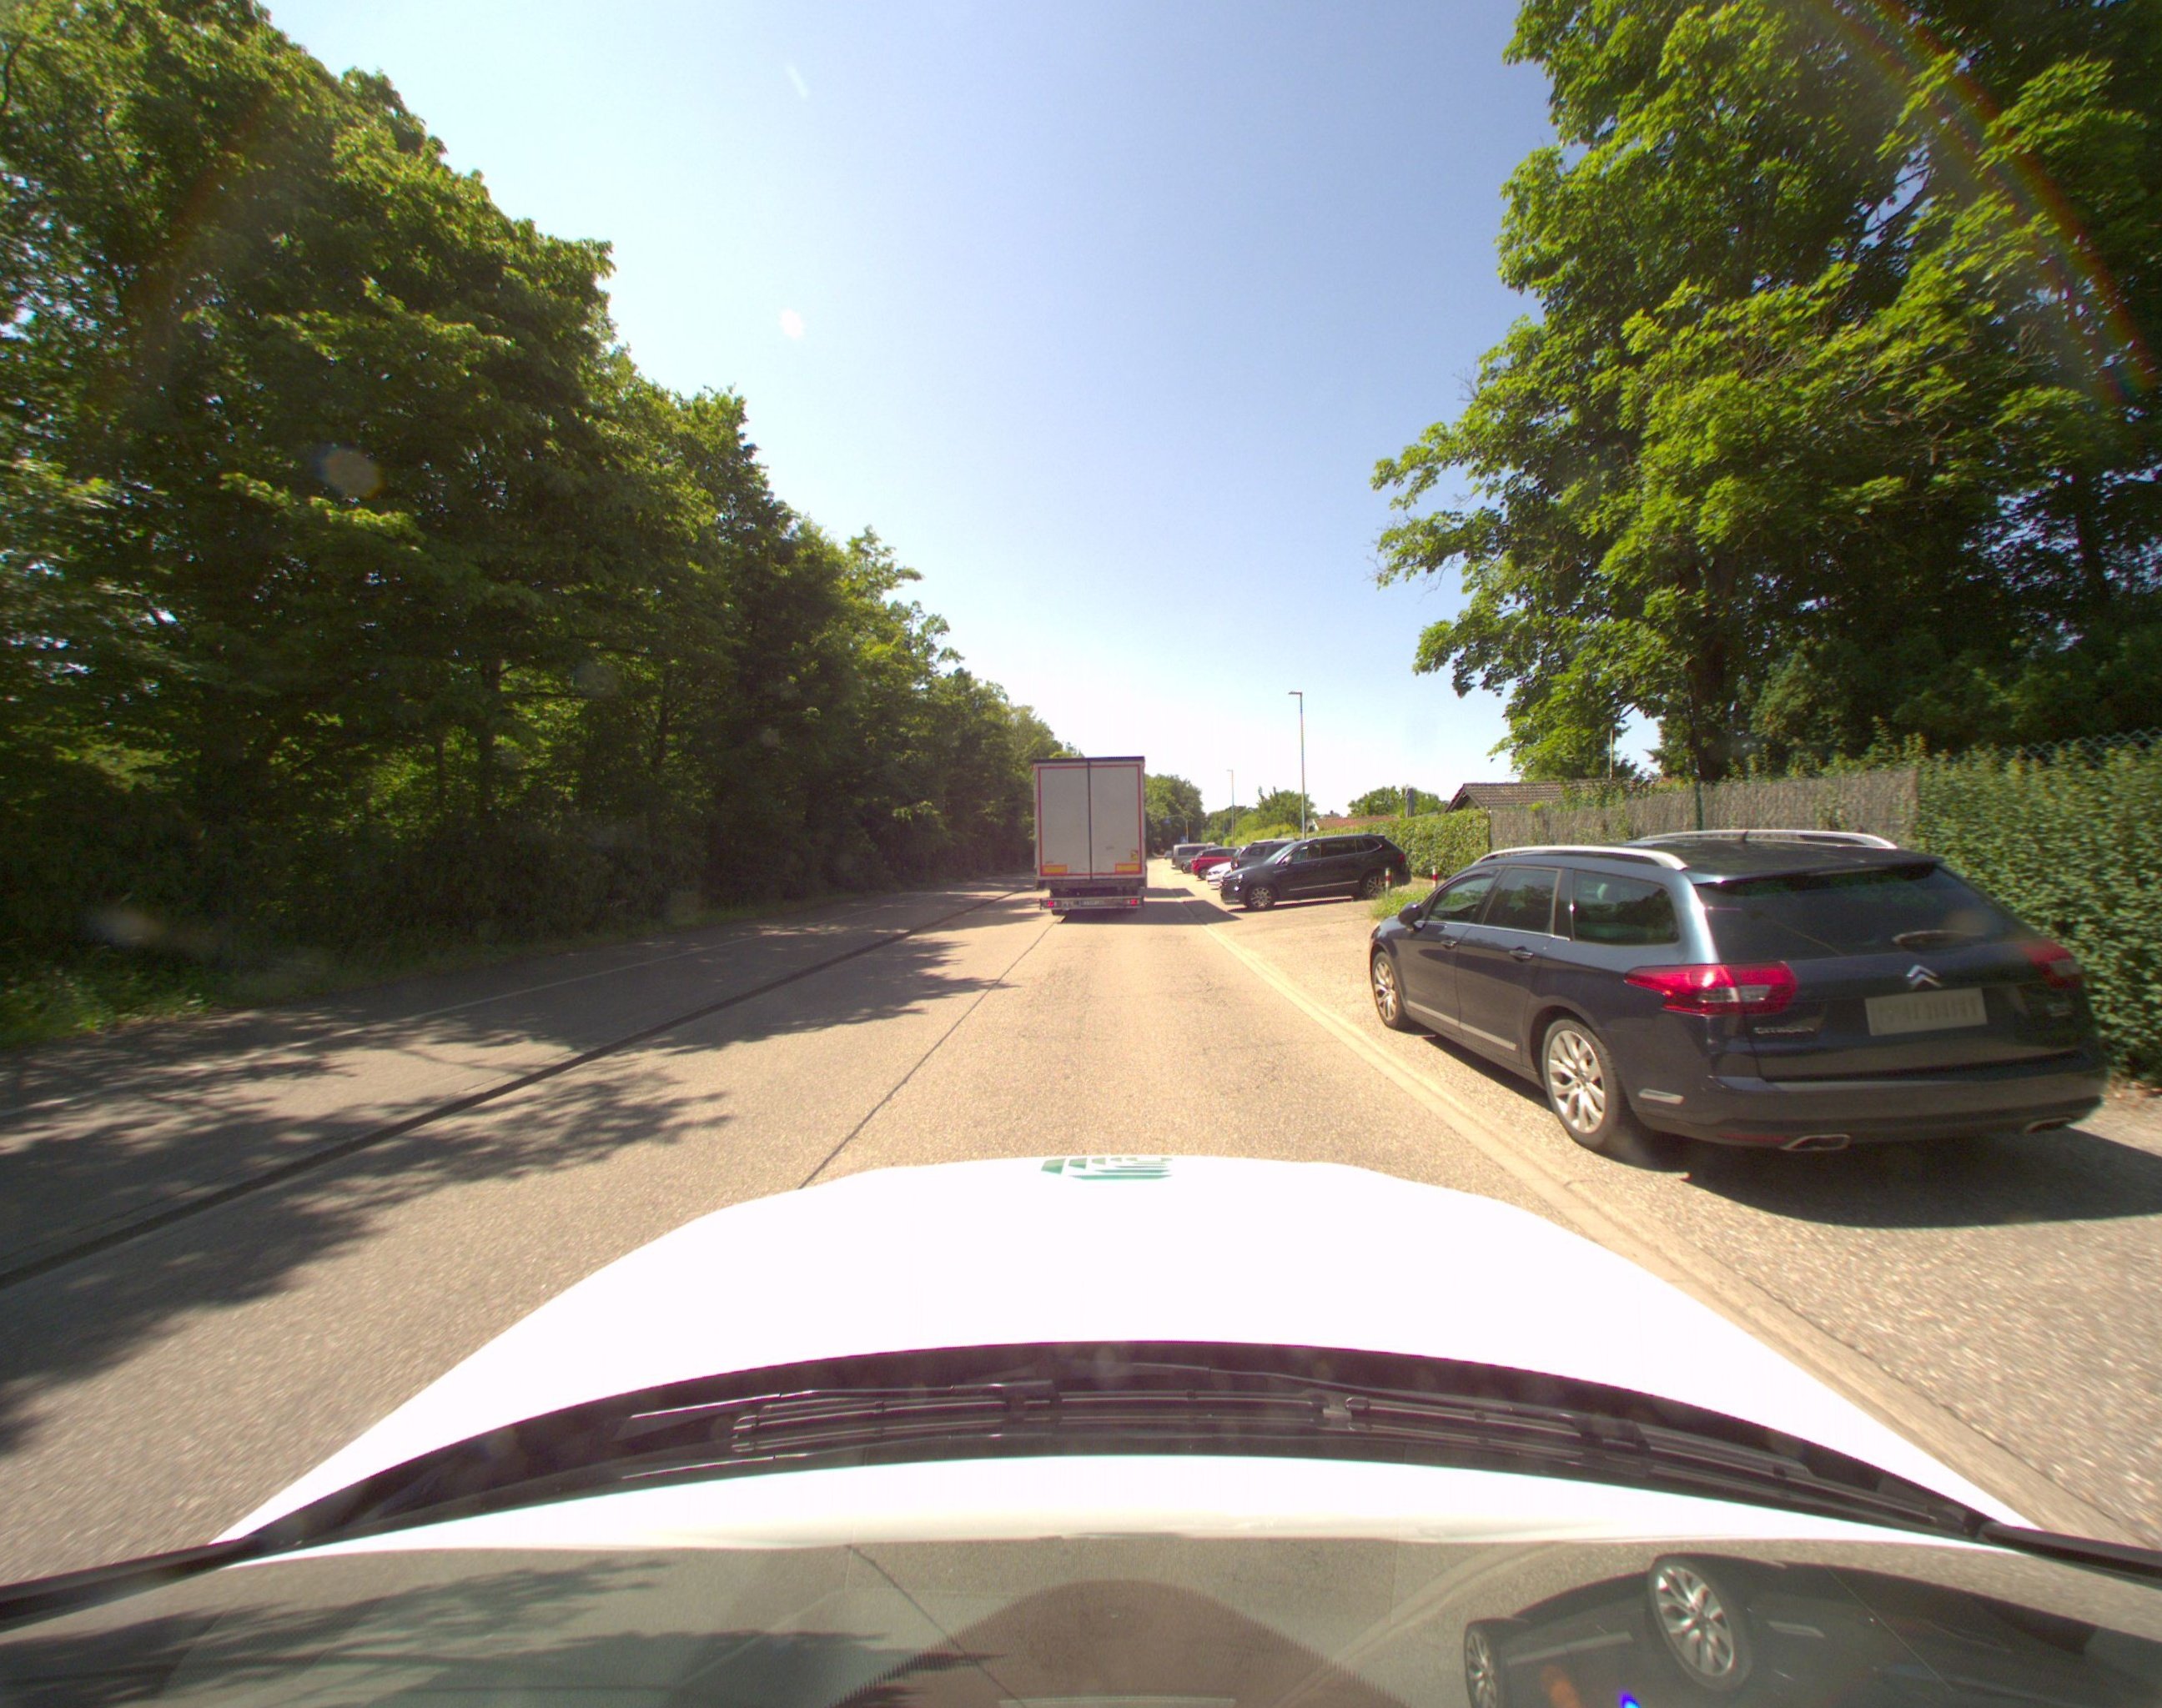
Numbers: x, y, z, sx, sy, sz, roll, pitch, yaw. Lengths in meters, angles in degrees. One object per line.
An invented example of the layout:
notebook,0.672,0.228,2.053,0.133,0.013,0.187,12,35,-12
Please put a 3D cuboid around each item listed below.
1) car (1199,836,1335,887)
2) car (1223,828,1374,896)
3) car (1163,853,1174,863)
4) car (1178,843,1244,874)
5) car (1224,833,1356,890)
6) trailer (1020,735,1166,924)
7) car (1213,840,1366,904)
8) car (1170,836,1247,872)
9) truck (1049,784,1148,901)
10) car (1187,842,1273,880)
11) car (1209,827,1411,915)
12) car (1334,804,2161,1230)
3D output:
car,6.885,0.277,30.506,4.542,1.439,1.962,-5,0,0
car,6.740,0.247,25.615,4.237,1.698,1.856,-5,0,5
car,13.979,0.687,130.087,1.772,1.486,4.007,-1,0,6
car,7.715,0.266,48.517,3.565,1.502,1.841,-5,0,-1
car,7.113,0.234,28.032,4.034,1.548,1.759,-5,0,1
trailer,0.479,-0.573,24.050,3.101,4.102,11.542,-3,0,2
car,5.825,0.478,23.223,3.974,1.452,1.836,-5,0,8
car,8.047,-0.001,51.696,4.598,1.848,1.999,-5,0,5
truck,0.709,-0.397,30.403,3.102,3.725,6.417,-3,0,2
car,7.269,0.345,39.937,3.901,1.478,1.847,-5,0,4
car,5.634,0.395,20.470,4.454,1.704,1.914,-5,0,1
car,3.290,0.612,5.449,1.782,1.481,4.667,-5,0,2
